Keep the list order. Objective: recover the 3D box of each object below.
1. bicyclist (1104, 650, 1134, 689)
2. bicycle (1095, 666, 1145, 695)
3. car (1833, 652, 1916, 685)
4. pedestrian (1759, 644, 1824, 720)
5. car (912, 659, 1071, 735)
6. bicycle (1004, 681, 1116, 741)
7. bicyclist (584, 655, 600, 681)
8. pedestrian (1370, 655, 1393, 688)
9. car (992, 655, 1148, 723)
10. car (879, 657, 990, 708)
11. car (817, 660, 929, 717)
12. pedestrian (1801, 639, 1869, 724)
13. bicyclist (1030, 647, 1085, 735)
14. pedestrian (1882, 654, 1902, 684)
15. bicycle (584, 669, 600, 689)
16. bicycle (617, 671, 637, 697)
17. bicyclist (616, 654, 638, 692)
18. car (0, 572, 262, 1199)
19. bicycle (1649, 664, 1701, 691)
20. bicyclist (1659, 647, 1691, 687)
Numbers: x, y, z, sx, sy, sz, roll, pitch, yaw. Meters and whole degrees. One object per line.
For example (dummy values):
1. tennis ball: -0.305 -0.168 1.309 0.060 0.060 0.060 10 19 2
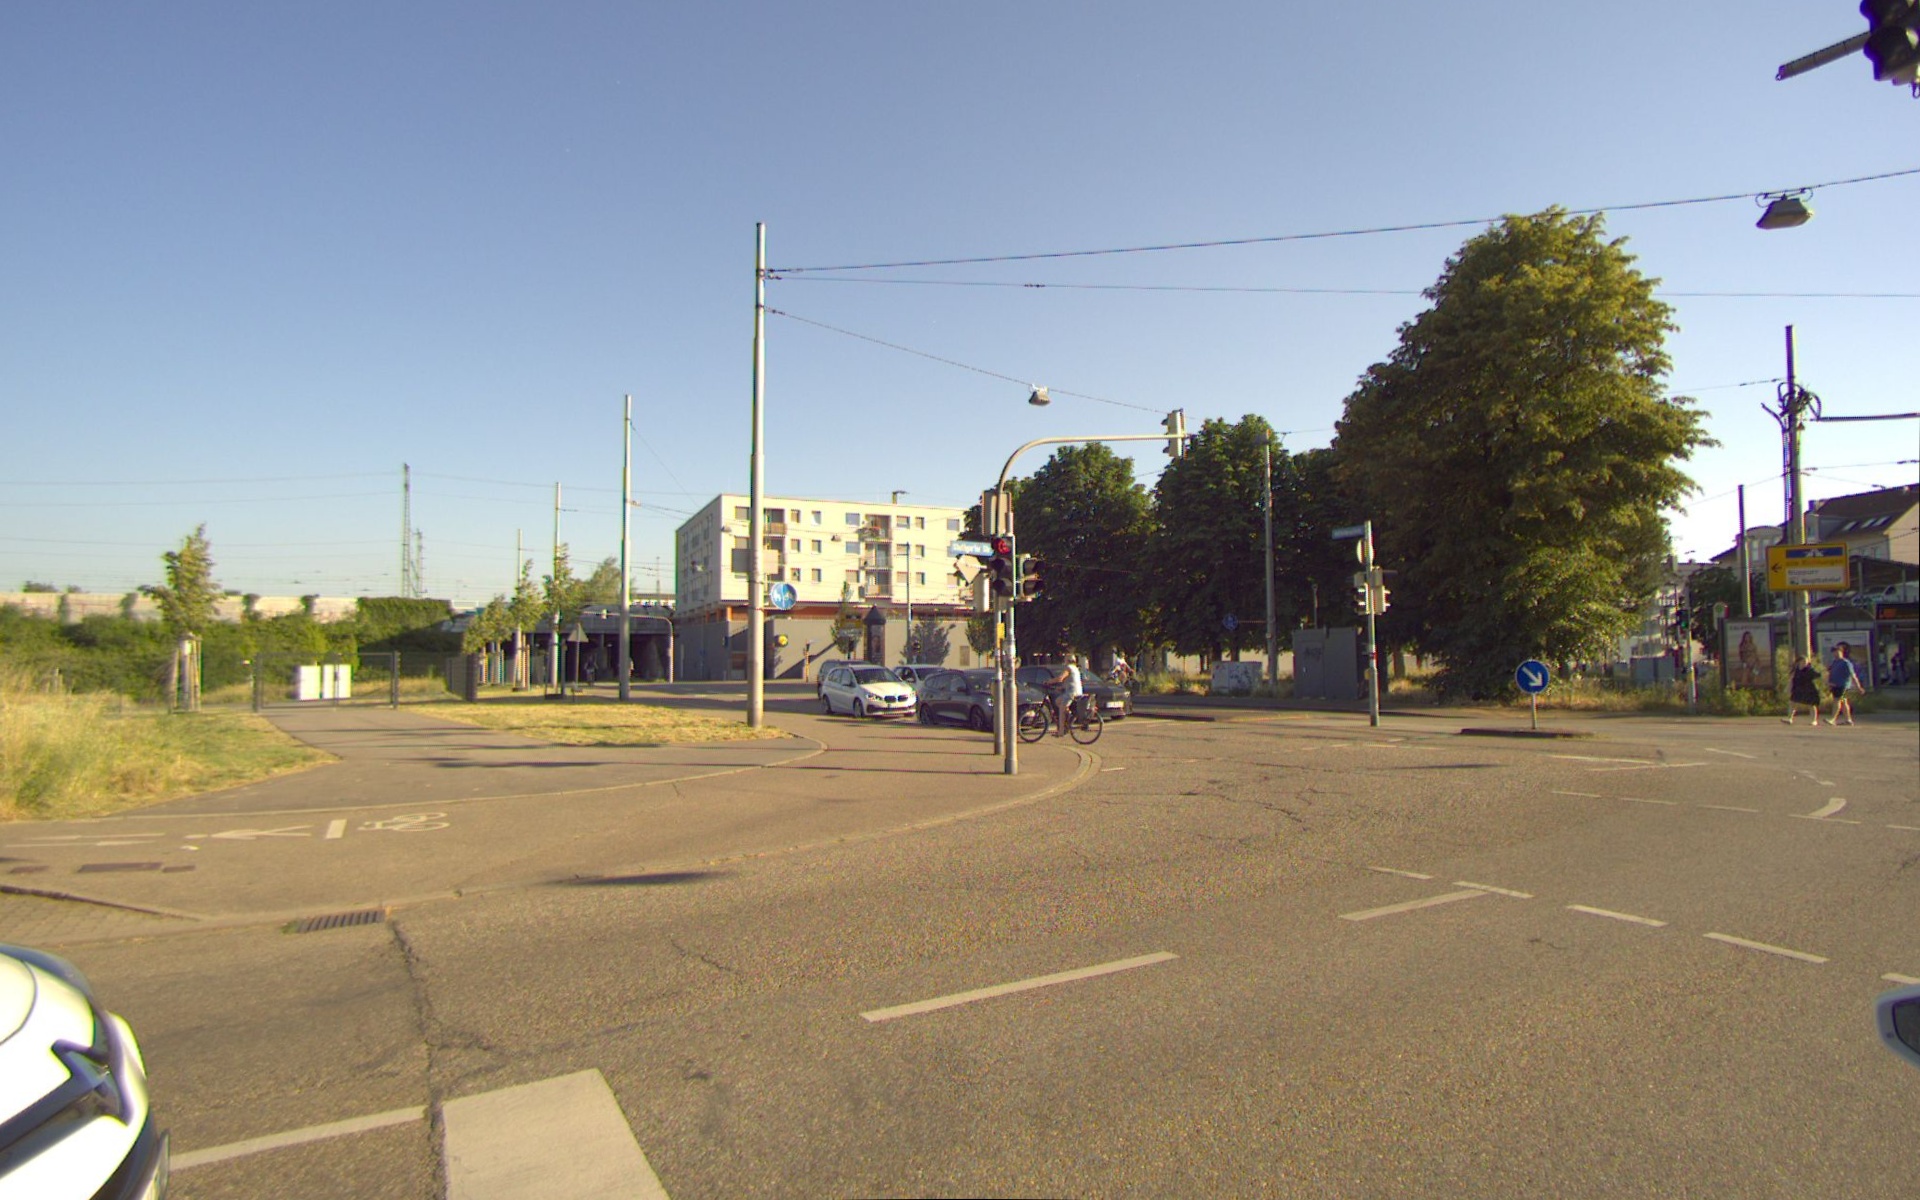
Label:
1. bicyclist: 6.782 2.955 42.901 0.708 1.650 1.030 2 -4 -40
2. bicycle: 6.808 3.418 42.809 0.695 1.157 2.175 2 -4 -41
3. car: 59.351 4.433 65.343 2.017 1.987 5.153 -4 -4 19
4. pedestrian: 20.100 1.963 24.277 1.057 1.769 0.906 2 -4 -35
5. car: 0.639 2.251 24.054 1.975 1.587 4.246 0 -3 -27
6. bicycle: 1.881 2.070 18.934 1.980 1.083 0.664 -2 -3 21
7. bicyclist: -22.293 4.138 60.863 0.840 1.567 1.017 1 -4 -22
8. pedestrian: 24.312 4.121 57.922 0.678 1.896 0.940 1 -3 -24
9. car: 2.768 2.278 26.409 2.027 1.587 4.423 1 -4 -26
10. car: -0.942 2.726 33.655 1.975 1.587 4.426 1 -4 -27
11. car: -2.758 2.666 30.800 1.975 1.587 4.246 1 -4 -27
12. pedestrian: 20.709 1.919 23.770 1.057 1.950 0.906 2 -4 -35
13. bicyclist: 1.860 1.711 19.092 0.841 1.626 0.777 -2 -3 21
14. pedestrian: 47.983 3.547 51.701 0.558 1.520 0.677 -2 -4 32
15. bicycle: -22.279 4.798 60.787 0.781 1.164 2.281 1 -4 -22
16. bicycle: -14.835 3.737 44.722 0.743 1.107 1.939 1 -4 -22
17. bicyclist: -14.865 3.249 44.813 0.866 1.646 0.968 1 -3 -23
18. car: -3.065 0.713 1.009 3.733 1.488 1.692 2 -4 -32
19. bicycle: 30.420 3.286 42.750 1.985 1.083 0.662 0 -3 -15
20. bicyclist: 30.440 2.847 42.776 0.872 1.673 0.668 1 -3 -17
